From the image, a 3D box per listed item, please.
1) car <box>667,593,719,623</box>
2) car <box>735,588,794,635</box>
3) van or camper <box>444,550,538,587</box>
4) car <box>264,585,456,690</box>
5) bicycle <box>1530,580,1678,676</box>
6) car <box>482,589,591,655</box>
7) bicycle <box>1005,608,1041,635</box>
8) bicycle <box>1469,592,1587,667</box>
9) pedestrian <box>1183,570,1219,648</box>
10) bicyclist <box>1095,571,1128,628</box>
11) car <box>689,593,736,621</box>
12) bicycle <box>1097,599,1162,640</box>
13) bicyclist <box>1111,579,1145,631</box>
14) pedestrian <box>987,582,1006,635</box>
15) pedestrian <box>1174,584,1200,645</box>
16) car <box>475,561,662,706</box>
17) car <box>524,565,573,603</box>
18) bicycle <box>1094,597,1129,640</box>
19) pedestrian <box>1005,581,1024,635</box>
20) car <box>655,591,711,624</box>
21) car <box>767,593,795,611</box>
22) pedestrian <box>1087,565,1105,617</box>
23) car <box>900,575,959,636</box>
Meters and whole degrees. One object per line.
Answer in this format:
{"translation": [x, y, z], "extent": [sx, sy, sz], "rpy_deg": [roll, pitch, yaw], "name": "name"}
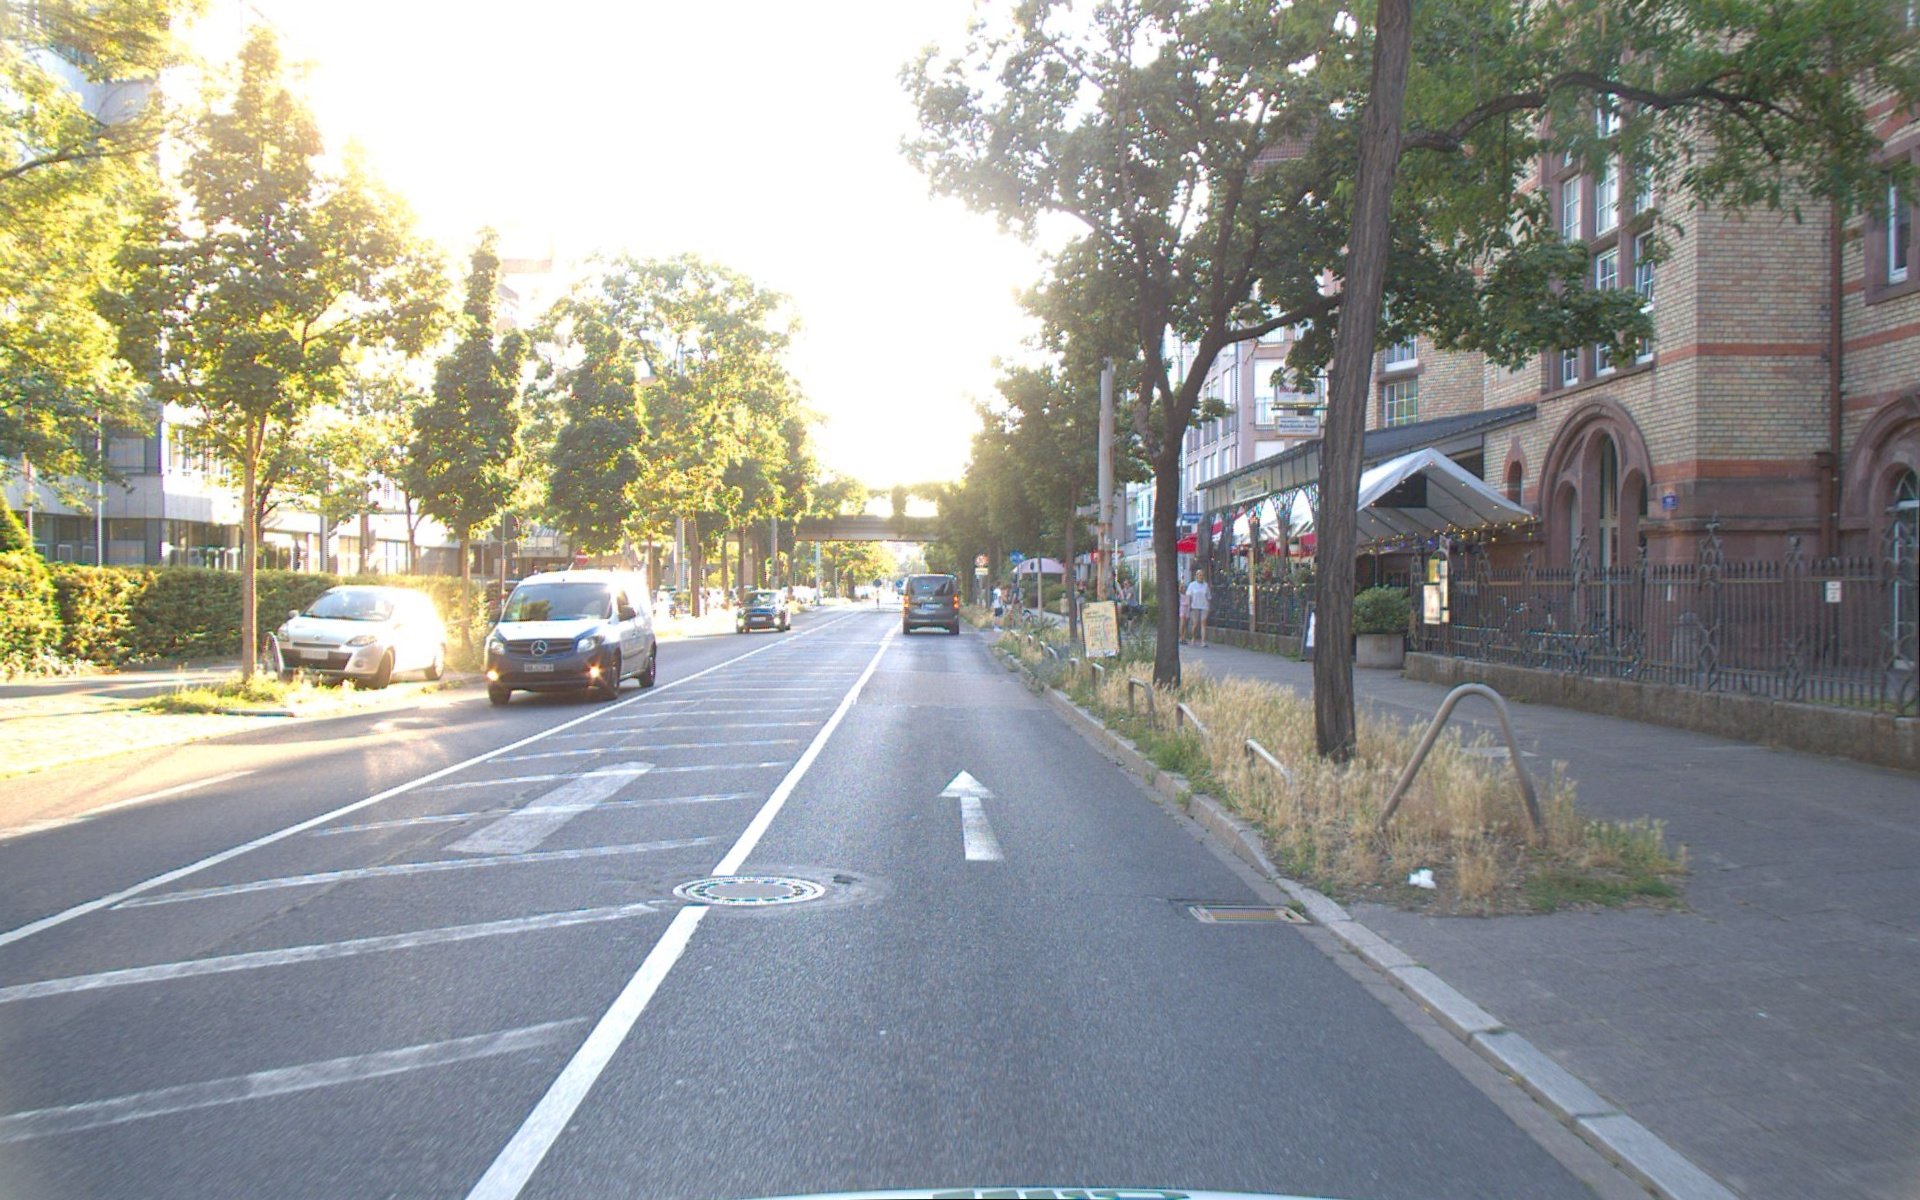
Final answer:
{"translation": [-13.401, 0.387, 83.330], "extent": [1.953, 1.439, 4.236], "rpy_deg": [2, 0, -1], "name": "car"}
{"translation": [-6.848, 0.379, 58.304], "extent": [1.645, 1.556, 3.999], "rpy_deg": [-1, 0, -1], "name": "car"}
{"translation": [-35.937, -2.372, 126.876], "extent": [6.432, 2.566, 2.448], "rpy_deg": [2, 0, -3], "name": "van or camper"}
{"translation": [-9.371, 0.537, 26.146], "extent": [1.663, 1.477, 3.998], "rpy_deg": [2, 0, -2], "name": "car"}
{"translation": [8.300, 0.358, 21.342], "extent": [1.698, 1.157, 0.493], "rpy_deg": [2, 0, -1], "name": "bicycle"}
{"translation": [-9.842, 0.473, 38.701], "extent": [1.605, 1.410, 3.998], "rpy_deg": [2, 0, -2], "name": "car"}
{"translation": [2.312, 0.787, 61.139], "extent": [0.580, 0.913, 1.975], "rpy_deg": [2, 0, -21], "name": "bicycle"}
{"translation": [7.768, 0.393, 22.651], "extent": [1.415, 0.963, 0.534], "rpy_deg": [2, 0, -1], "name": "bicycle"}
{"translation": [5.289, 0.193, 36.369], "extent": [0.631, 1.661, 0.656], "rpy_deg": [2, 0, -1], "name": "pedestrian"}
{"translation": [3.454, -0.015, 37.765], "extent": [0.573, 1.258, 1.111], "rpy_deg": [2, 0, -2], "name": "bicyclist"}
{"translation": [-13.479, 0.354, 90.395], "extent": [1.953, 1.439, 4.236], "rpy_deg": [2, 0, -1], "name": "car"}
{"translation": [5.380, 0.619, 52.475], "extent": [1.943, 1.248, 0.547], "rpy_deg": [2, 0, -8], "name": "bicycle"}
{"translation": [5.336, 0.159, 52.472], "extent": [0.917, 1.585, 0.545], "rpy_deg": [2, 0, -8], "name": "bicyclist"}
{"translation": [1.352, 0.298, 60.718], "extent": [0.496, 1.921, 0.543], "rpy_deg": [2, 0, -16], "name": "pedestrian"}
{"translation": [5.174, 0.327, 37.735], "extent": [0.457, 1.374, 0.530], "rpy_deg": [2, 0, -1], "name": "pedestrian"}
{"translation": [-5.552, 0.427, 24.004], "extent": [1.796, 1.885, 4.472], "rpy_deg": [-1, 0, -2], "name": "car"}
{"translation": [-27.124, -1.042, 109.243], "extent": [1.953, 2.348, 5.244], "rpy_deg": [2, 0, -1], "name": "car"}
{"translation": [3.447, 0.412, 37.738], "extent": [0.567, 0.913, 1.987], "rpy_deg": [2, 0, -1], "name": "bicycle"}
{"translation": [1.995, 0.288, 60.293], "extent": [0.496, 1.921, 0.543], "rpy_deg": [2, 0, -16], "name": "pedestrian"}
{"translation": [-12.954, 0.338, 77.477], "extent": [1.953, 1.439, 4.236], "rpy_deg": [2, 0, -1], "name": "car"}
{"translation": [-14.870, 0.142, 137.482], "extent": [1.953, 1.439, 4.236], "rpy_deg": [2, 0, -1], "name": "car"}
{"translation": [6.853, -0.457, 83.331], "extent": [0.701, 2.583, 0.824], "rpy_deg": [2, 0, -1], "name": "pedestrian"}
{"translation": [-0.989, 0.156, 54.582], "extent": [1.849, 1.958, 3.839], "rpy_deg": [0, 0, -1], "name": "car"}
